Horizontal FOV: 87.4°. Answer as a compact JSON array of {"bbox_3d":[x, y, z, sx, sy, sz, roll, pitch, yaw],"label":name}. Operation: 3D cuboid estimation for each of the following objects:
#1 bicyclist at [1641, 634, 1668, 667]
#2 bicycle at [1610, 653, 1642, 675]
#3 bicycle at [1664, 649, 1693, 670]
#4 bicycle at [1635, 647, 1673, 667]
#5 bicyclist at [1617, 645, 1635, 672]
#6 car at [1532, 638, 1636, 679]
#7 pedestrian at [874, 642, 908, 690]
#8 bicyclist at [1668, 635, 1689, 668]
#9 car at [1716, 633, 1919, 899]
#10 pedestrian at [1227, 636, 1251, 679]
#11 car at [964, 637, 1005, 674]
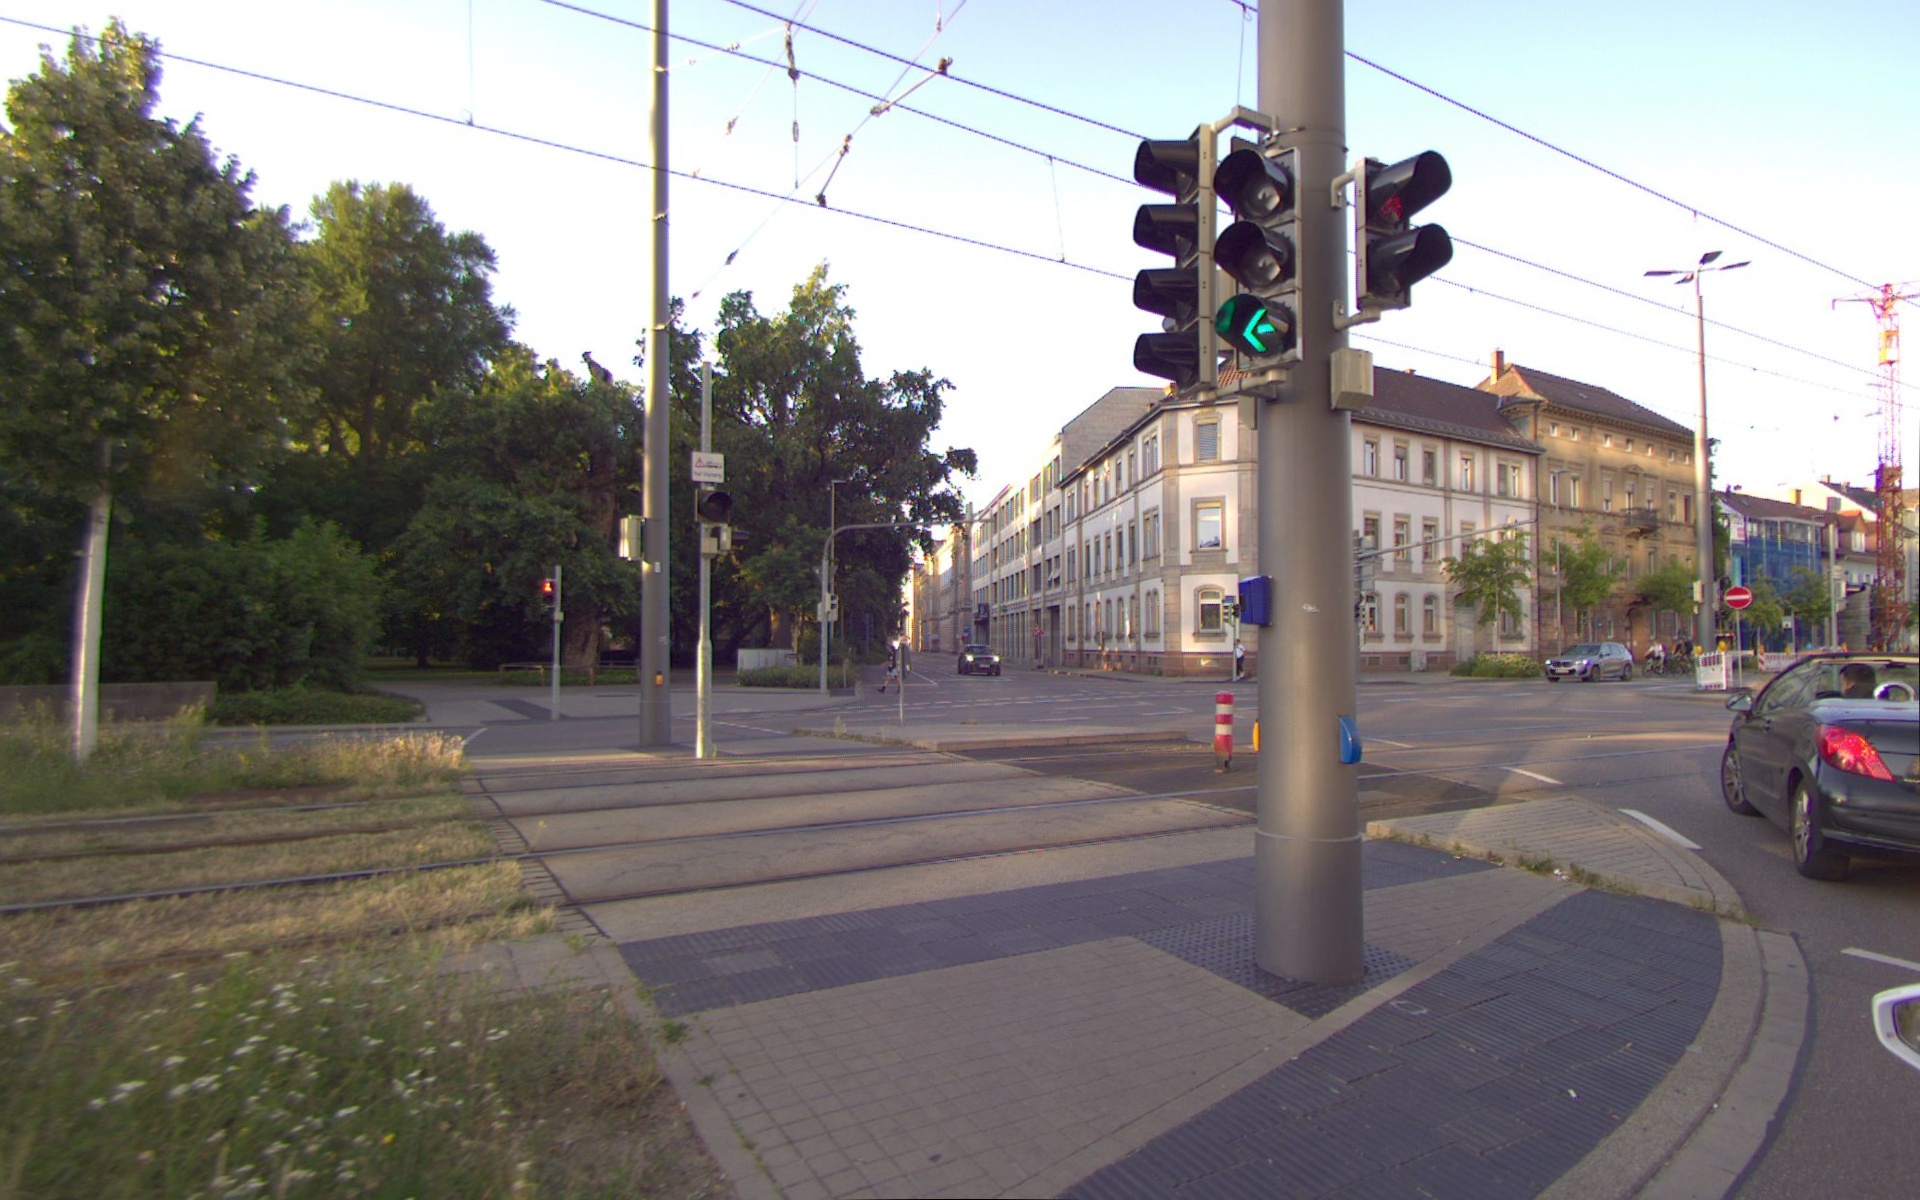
[{"bbox_3d":[34.534,2.509,49.963,0.781,1.592,0.771,1,0,-21],"label":"bicyclist"},{"bbox_3d":[32.690,3.145,49.304,1.535,1.002,0.588,1,0,-25],"label":"bicycle"},{"bbox_3d":[35.137,2.887,49.118,1.538,0.988,0.587,1,0,-31],"label":"bicycle"},{"bbox_3d":[34.527,2.841,49.966,1.615,0.957,0.771,1,0,-21],"label":"bicycle"},{"bbox_3d":[32.696,2.855,49.303,0.453,1.283,0.588,1,0,-25],"label":"bicyclist"},{"bbox_3d":[25.944,2.432,41.753,4.077,1.600,1.984,1,-4,-31],"label":"car"},{"bbox_3d":[-2.203,2.101,32.147,0.925,1.478,0.600,1,0,-31],"label":"pedestrian"},{"bbox_3d":[35.143,2.514,49.115,0.702,1.590,0.587,1,0,-30],"label":"bicyclist"},{"bbox_3d":[6.449,0.945,6.878,1.650,1.370,3.991,0,-1,32],"label":"car"},{"bbox_3d":[11.771,2.414,42.382,0.798,1.738,0.703,1,0,32],"label":"pedestrian"},{"bbox_3d":[1.156,2.675,48.961,1.755,1.576,3.999,1,0,-2],"label":"car"}]
